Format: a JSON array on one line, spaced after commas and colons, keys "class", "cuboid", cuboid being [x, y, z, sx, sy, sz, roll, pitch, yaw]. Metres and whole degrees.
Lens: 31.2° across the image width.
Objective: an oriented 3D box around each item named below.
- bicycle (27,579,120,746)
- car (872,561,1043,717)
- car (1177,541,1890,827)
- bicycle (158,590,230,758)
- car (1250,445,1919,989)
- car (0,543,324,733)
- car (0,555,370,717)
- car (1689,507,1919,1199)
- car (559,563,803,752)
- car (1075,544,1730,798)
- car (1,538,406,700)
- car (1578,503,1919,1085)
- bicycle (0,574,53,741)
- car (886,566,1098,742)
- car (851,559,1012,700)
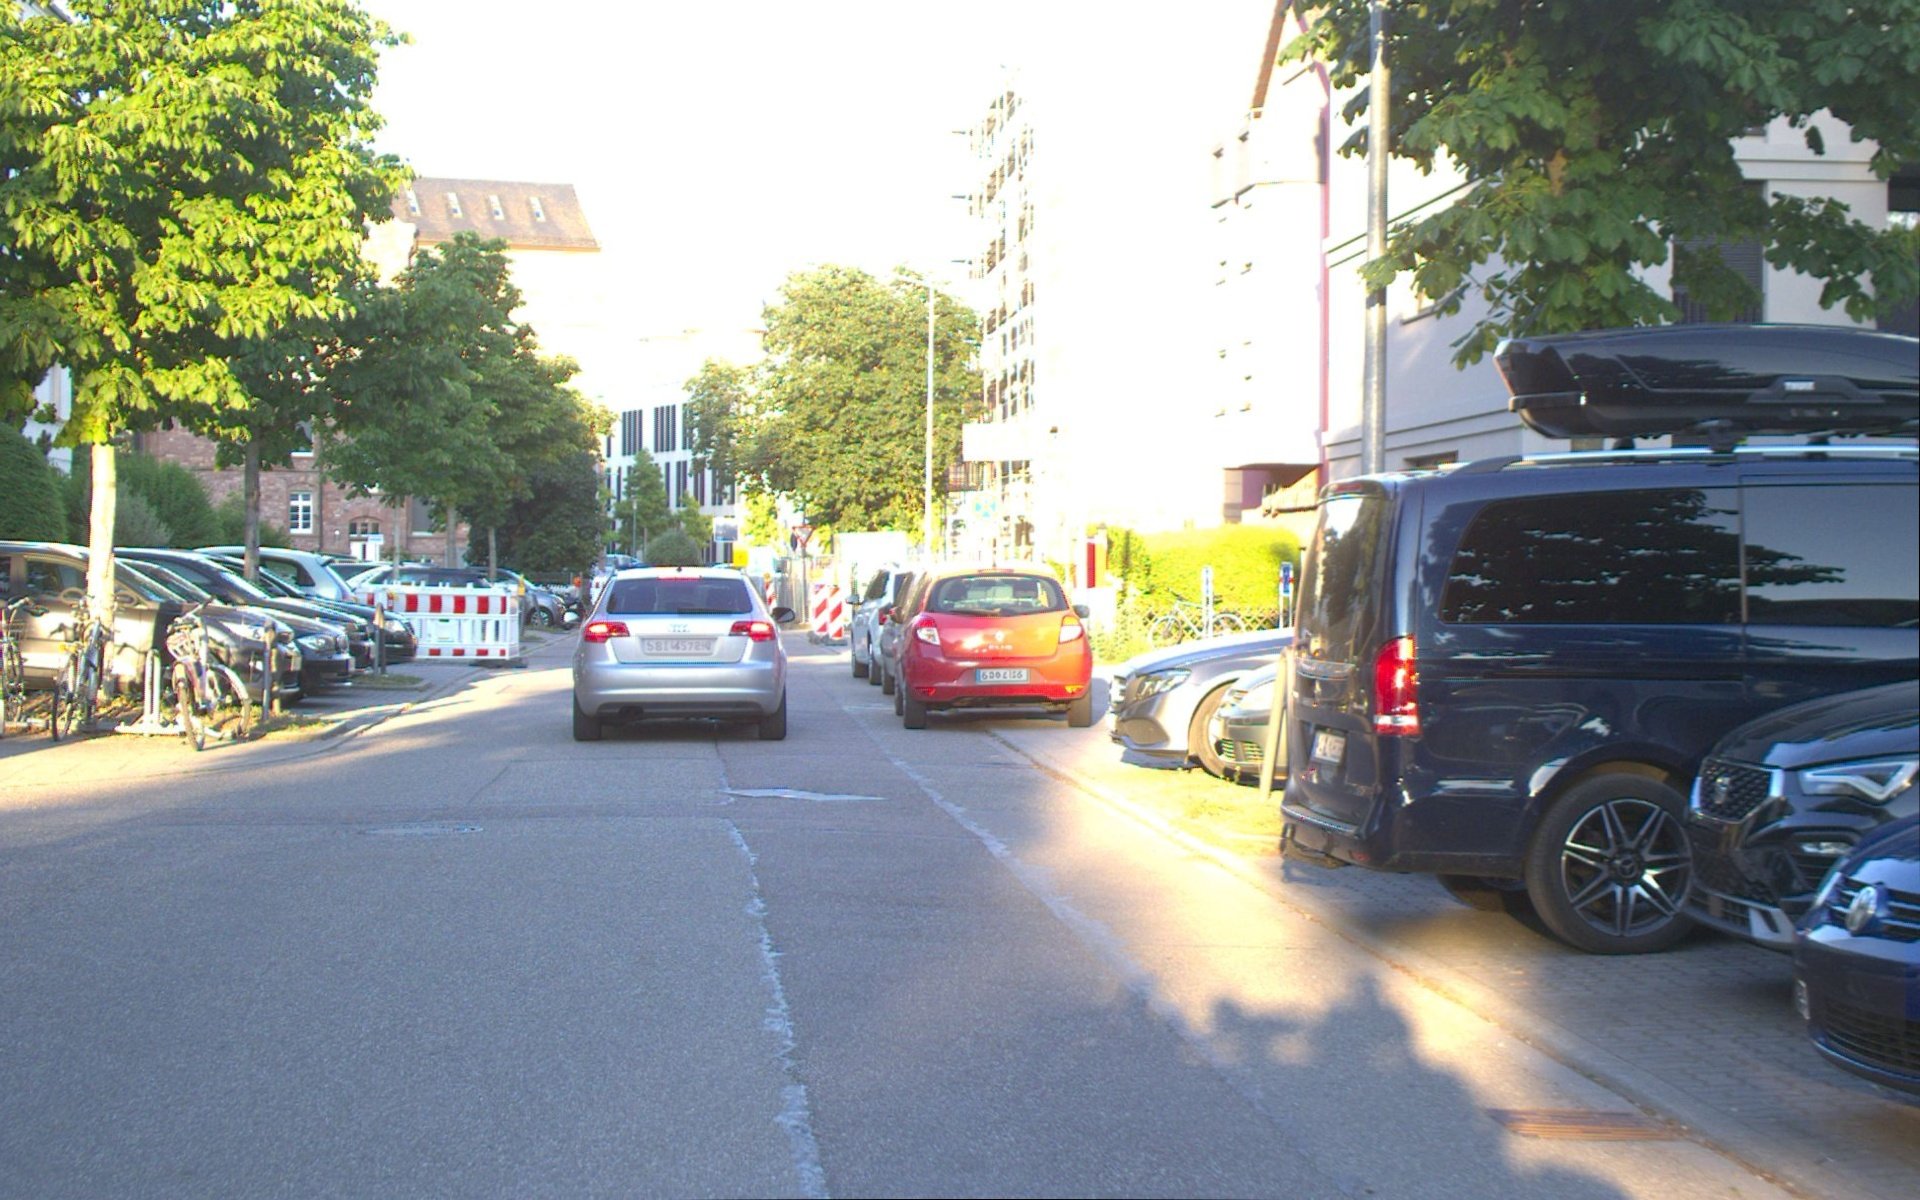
[{"class": "bicycle", "cuboid": [-6.886, 0.461, 26.746, 0.406, 1.223, 1.987, 1, 1, -6]}, {"class": "car", "cuboid": [-0.071, 0.388, 37.400, 1.663, 1.568, 3.441, 1, 1, -3]}, {"class": "car", "cuboid": [3.511, 0.498, 21.474, 3.938, 1.643, 1.977, 1, 1, -9]}, {"class": "bicycle", "cuboid": [-5.958, 0.555, 26.791, 0.406, 1.223, 1.988, 1, 1, -9]}, {"class": "car", "cuboid": [3.632, 0.404, 14.041, 4.556, 2.016, 2.101, 0, 1, -6]}, {"class": "car", "cuboid": [-7.910, 0.312, 31.318, 3.986, 1.620, 2.000, 1, 1, -6]}, {"class": "car", "cuboid": [-7.914, 0.330, 33.880, 3.986, 1.475, 2.000, 1, 1, -6]}, {"class": "car", "cuboid": [4.142, 0.631, 8.952, 3.986, 1.645, 1.765, 1, 1, -9]}, {"class": "car", "cuboid": [-2.430, 0.444, 29.165, 1.807, 1.483, 4.001, 0, 0, -8]}, {"class": "car", "cuboid": [3.022, 0.450, 23.907, 4.148, 1.566, 1.798, -2, 1, -8]}, {"class": "car", "cuboid": [-7.971, 0.184, 36.541, 3.986, 1.600, 1.873, 1, 1, -6]}, {"class": "car", "cuboid": [4.314, 0.581, 11.577, 3.986, 1.762, 2.000, 0, 1, -5]}, {"class": "bicycle", "cuboid": [-7.421, 0.426, 26.740, 0.406, 1.223, 1.987, 1, 1, -6]}, {"class": "car", "cuboid": [0.242, 0.452, 31.791, 1.730, 1.478, 3.558, 1, 1, -3]}, {"class": "car", "cuboid": [-0.391, 0.327, 42.072, 1.808, 1.607, 3.581, 1, 1, -3]}]
